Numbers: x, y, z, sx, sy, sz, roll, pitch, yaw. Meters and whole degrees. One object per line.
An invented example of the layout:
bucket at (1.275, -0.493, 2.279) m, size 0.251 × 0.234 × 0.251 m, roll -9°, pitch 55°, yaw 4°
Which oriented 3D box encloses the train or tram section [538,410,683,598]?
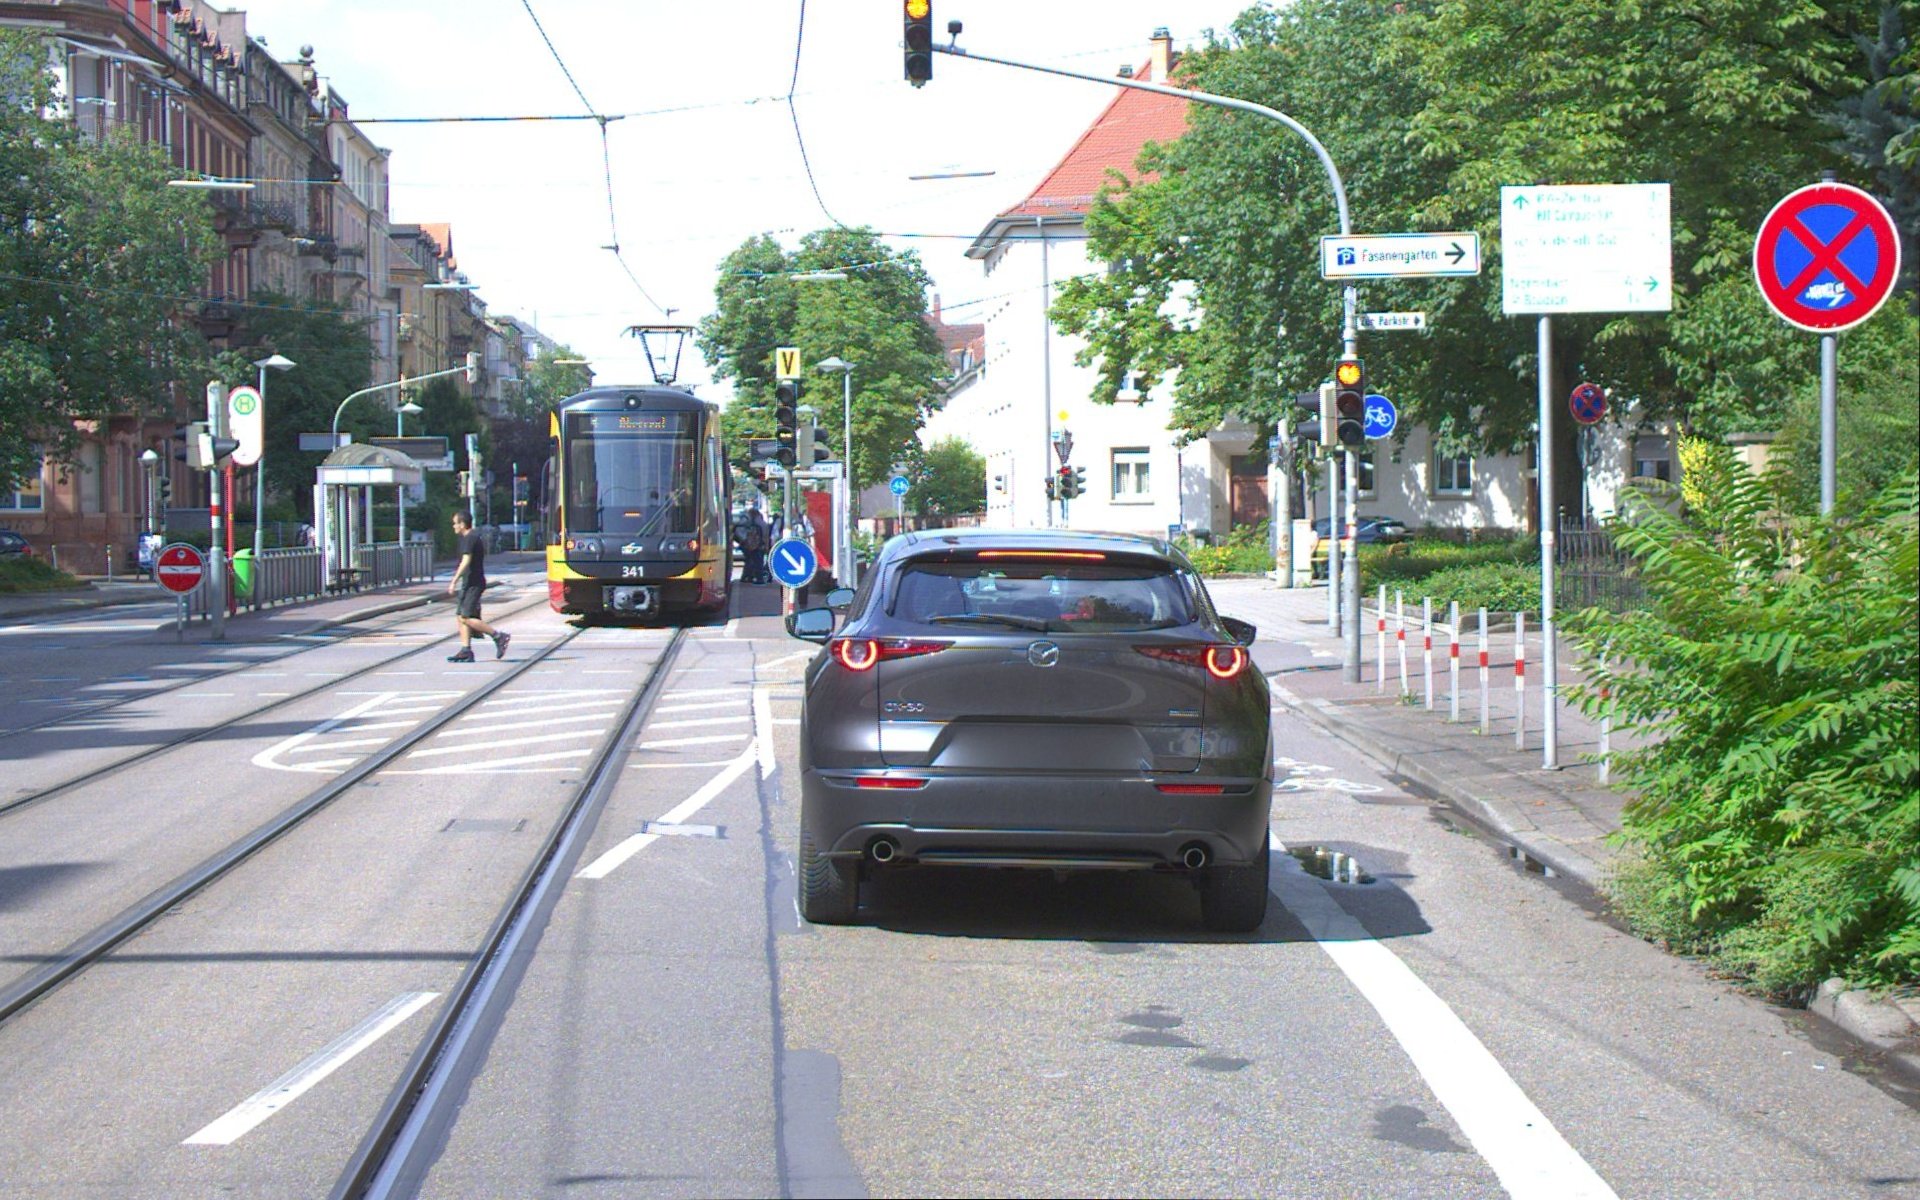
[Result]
train or tram section at (-7.121, -1.895, 69.423) m, size 2.651 × 3.515 × 8.498 m, roll -1°, pitch 1°, yaw -7°

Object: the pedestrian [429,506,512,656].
pedestrian at (-5.304, -0.213, 37.246) m, size 0.874 × 1.599 × 0.632 m, roll 0°, pitch 1°, yaw -8°

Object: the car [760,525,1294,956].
car at (0.117, 0.462, 14.455) m, size 1.789 × 1.507 × 4.352 m, roll 1°, pitch 1°, yaw -5°

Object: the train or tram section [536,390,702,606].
train or tram section at (-6.128, -1.750, 60.965) m, size 2.651 × 3.515 × 8.498 m, roll -1°, pitch 1°, yaw -7°

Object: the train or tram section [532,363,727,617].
train or tram section at (-5.132, -1.614, 52.507) m, size 2.651 × 3.515 × 8.498 m, roll -1°, pitch 1°, yaw -7°

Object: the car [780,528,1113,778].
car at (-0.204, 0.276, 23.743) m, size 1.784 × 1.487 × 4.884 m, roll -1°, pitch 2°, yaw -6°

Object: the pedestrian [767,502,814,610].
pedestrian at (-2.525, -0.657, 51.115) m, size 0.667 × 1.599 × 0.700 m, roll 0°, pitch 1°, yaw -5°
